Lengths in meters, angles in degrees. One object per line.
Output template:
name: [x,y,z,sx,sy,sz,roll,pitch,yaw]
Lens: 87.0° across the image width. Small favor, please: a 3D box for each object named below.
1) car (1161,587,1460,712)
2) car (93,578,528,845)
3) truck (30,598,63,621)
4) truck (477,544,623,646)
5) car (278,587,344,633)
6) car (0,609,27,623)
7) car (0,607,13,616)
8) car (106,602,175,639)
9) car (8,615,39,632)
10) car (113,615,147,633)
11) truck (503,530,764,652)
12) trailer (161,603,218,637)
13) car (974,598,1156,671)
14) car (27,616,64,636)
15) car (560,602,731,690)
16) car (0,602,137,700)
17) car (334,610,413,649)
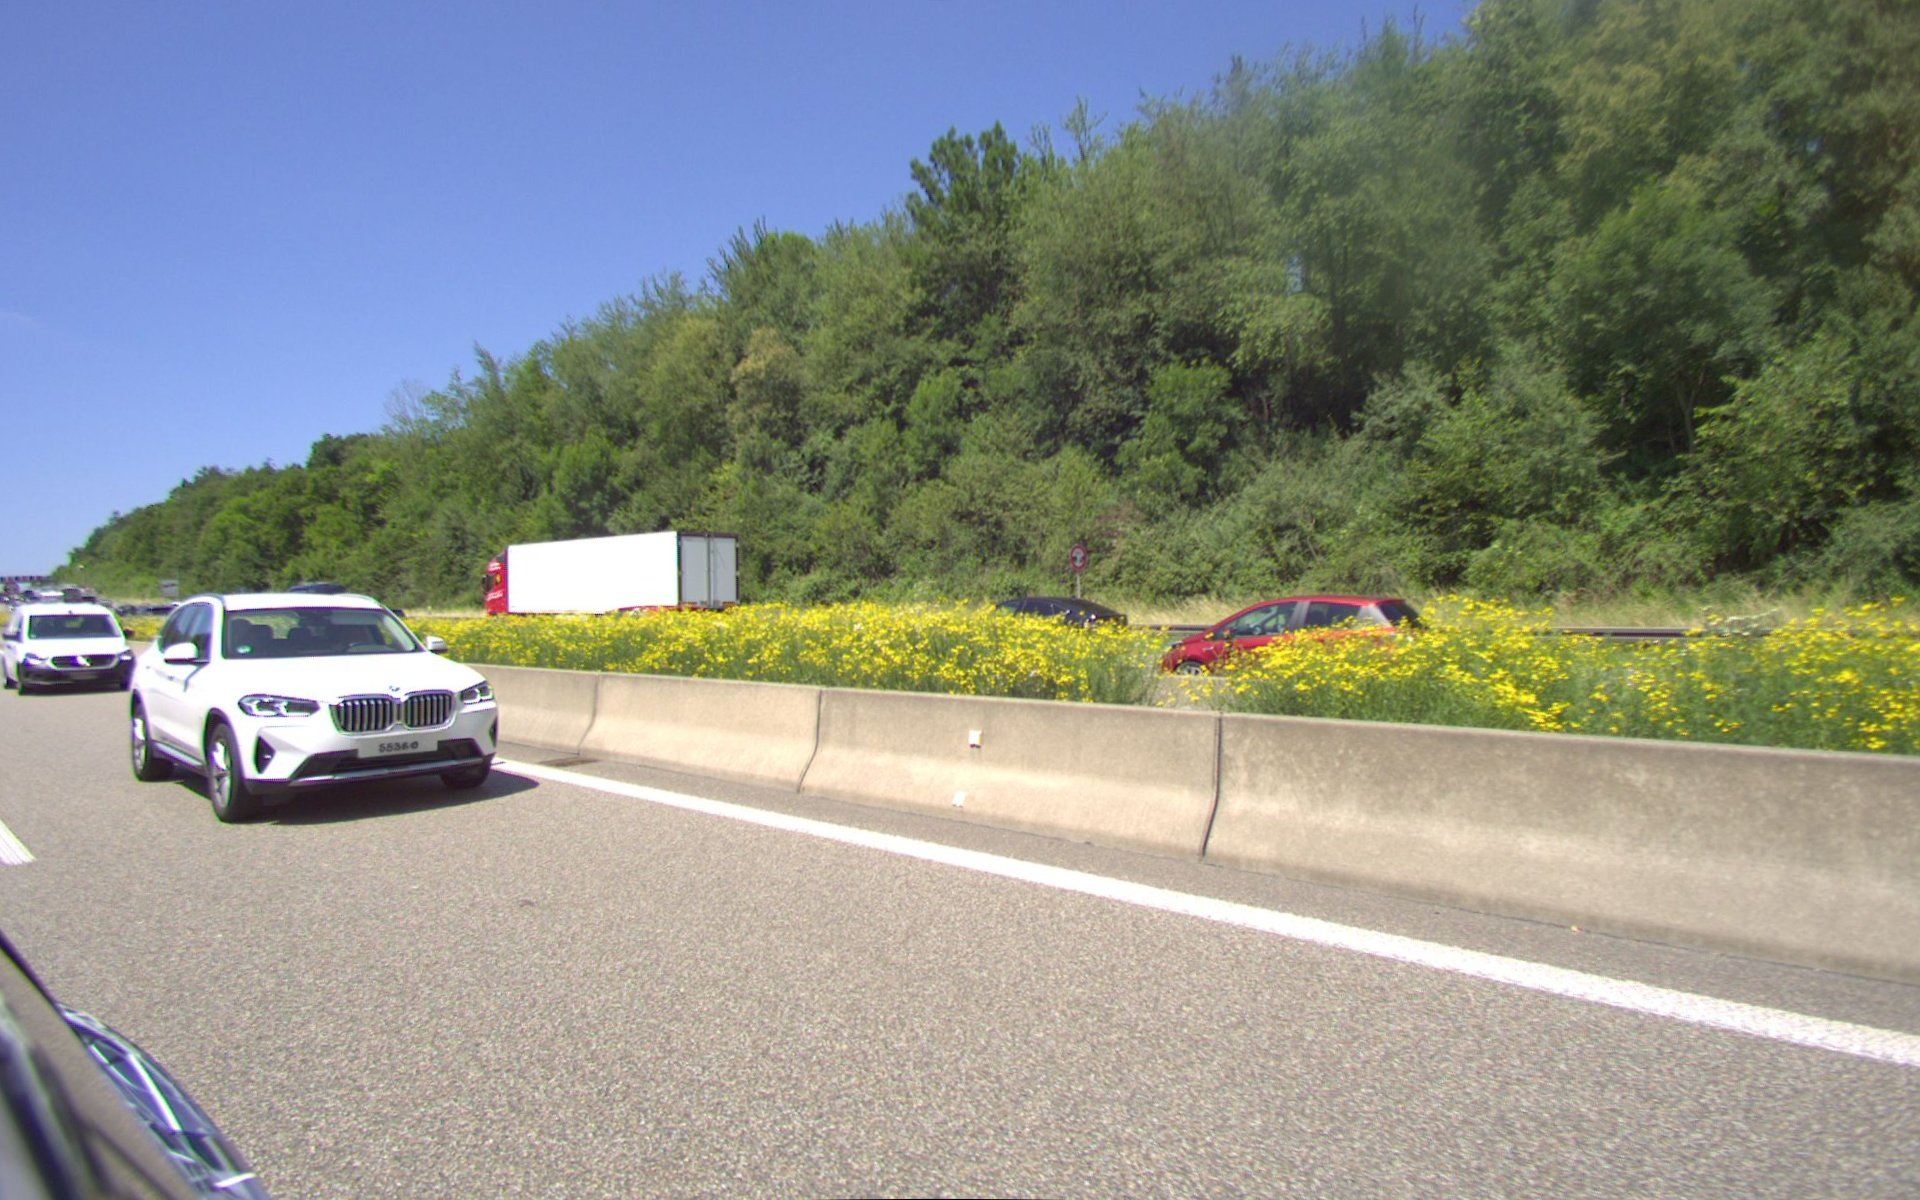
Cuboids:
car: [4.699,0.627,13.779,3.505,1.492,1.598,-2,-1,40]
car: [-5.851,0.771,8.807,4.953,1.707,1.845,-2,-1,41]
truck: [-126.993,1.287,140.621,7.781,3.143,2.511,-1,0,41]
truck: [-18.426,-0.187,45.367,6.283,4.226,3.670,-1,0,42]
car: [-35.366,0.527,55.149,3.998,2.448,1.973,-1,0,41]
car: [-120.855,2.012,129.195,4.146,1.698,2.131,-1,0,41]
car: [-178.750,2.124,189.417,4.147,1.698,2.019,-1,0,43]
car: [-39.830,0.980,49.164,3.998,1.680,1.898,-1,0,41]
car: [-97.239,2.439,105.088,3.998,1.698,1.973,-1,0,41]
car: [-83.309,2.363,101.546,3.998,1.698,1.973,-1,0,41]
truck: [-13.681,-0.249,41.062,13.790,4.226,3.670,-1,0,42]
trailer: [-46.837,1.195,61.498,3.998,2.029,1.973,-1,0,41]
car: [2.157,0.707,21.280,3.505,1.399,1.598,-2,-1,40]
car: [-79.825,2.244,88.303,3.998,1.698,1.973,-1,0,41]
car: [-6.037,0.814,19.285,3.358,1.520,1.581,-1,0,41]
car: [-18.818,1.012,21.105,4.670,1.826,1.747,-2,-1,40]
car: [-22.198,1.085,38.249,3.358,1.394,1.581,-1,0,41]
